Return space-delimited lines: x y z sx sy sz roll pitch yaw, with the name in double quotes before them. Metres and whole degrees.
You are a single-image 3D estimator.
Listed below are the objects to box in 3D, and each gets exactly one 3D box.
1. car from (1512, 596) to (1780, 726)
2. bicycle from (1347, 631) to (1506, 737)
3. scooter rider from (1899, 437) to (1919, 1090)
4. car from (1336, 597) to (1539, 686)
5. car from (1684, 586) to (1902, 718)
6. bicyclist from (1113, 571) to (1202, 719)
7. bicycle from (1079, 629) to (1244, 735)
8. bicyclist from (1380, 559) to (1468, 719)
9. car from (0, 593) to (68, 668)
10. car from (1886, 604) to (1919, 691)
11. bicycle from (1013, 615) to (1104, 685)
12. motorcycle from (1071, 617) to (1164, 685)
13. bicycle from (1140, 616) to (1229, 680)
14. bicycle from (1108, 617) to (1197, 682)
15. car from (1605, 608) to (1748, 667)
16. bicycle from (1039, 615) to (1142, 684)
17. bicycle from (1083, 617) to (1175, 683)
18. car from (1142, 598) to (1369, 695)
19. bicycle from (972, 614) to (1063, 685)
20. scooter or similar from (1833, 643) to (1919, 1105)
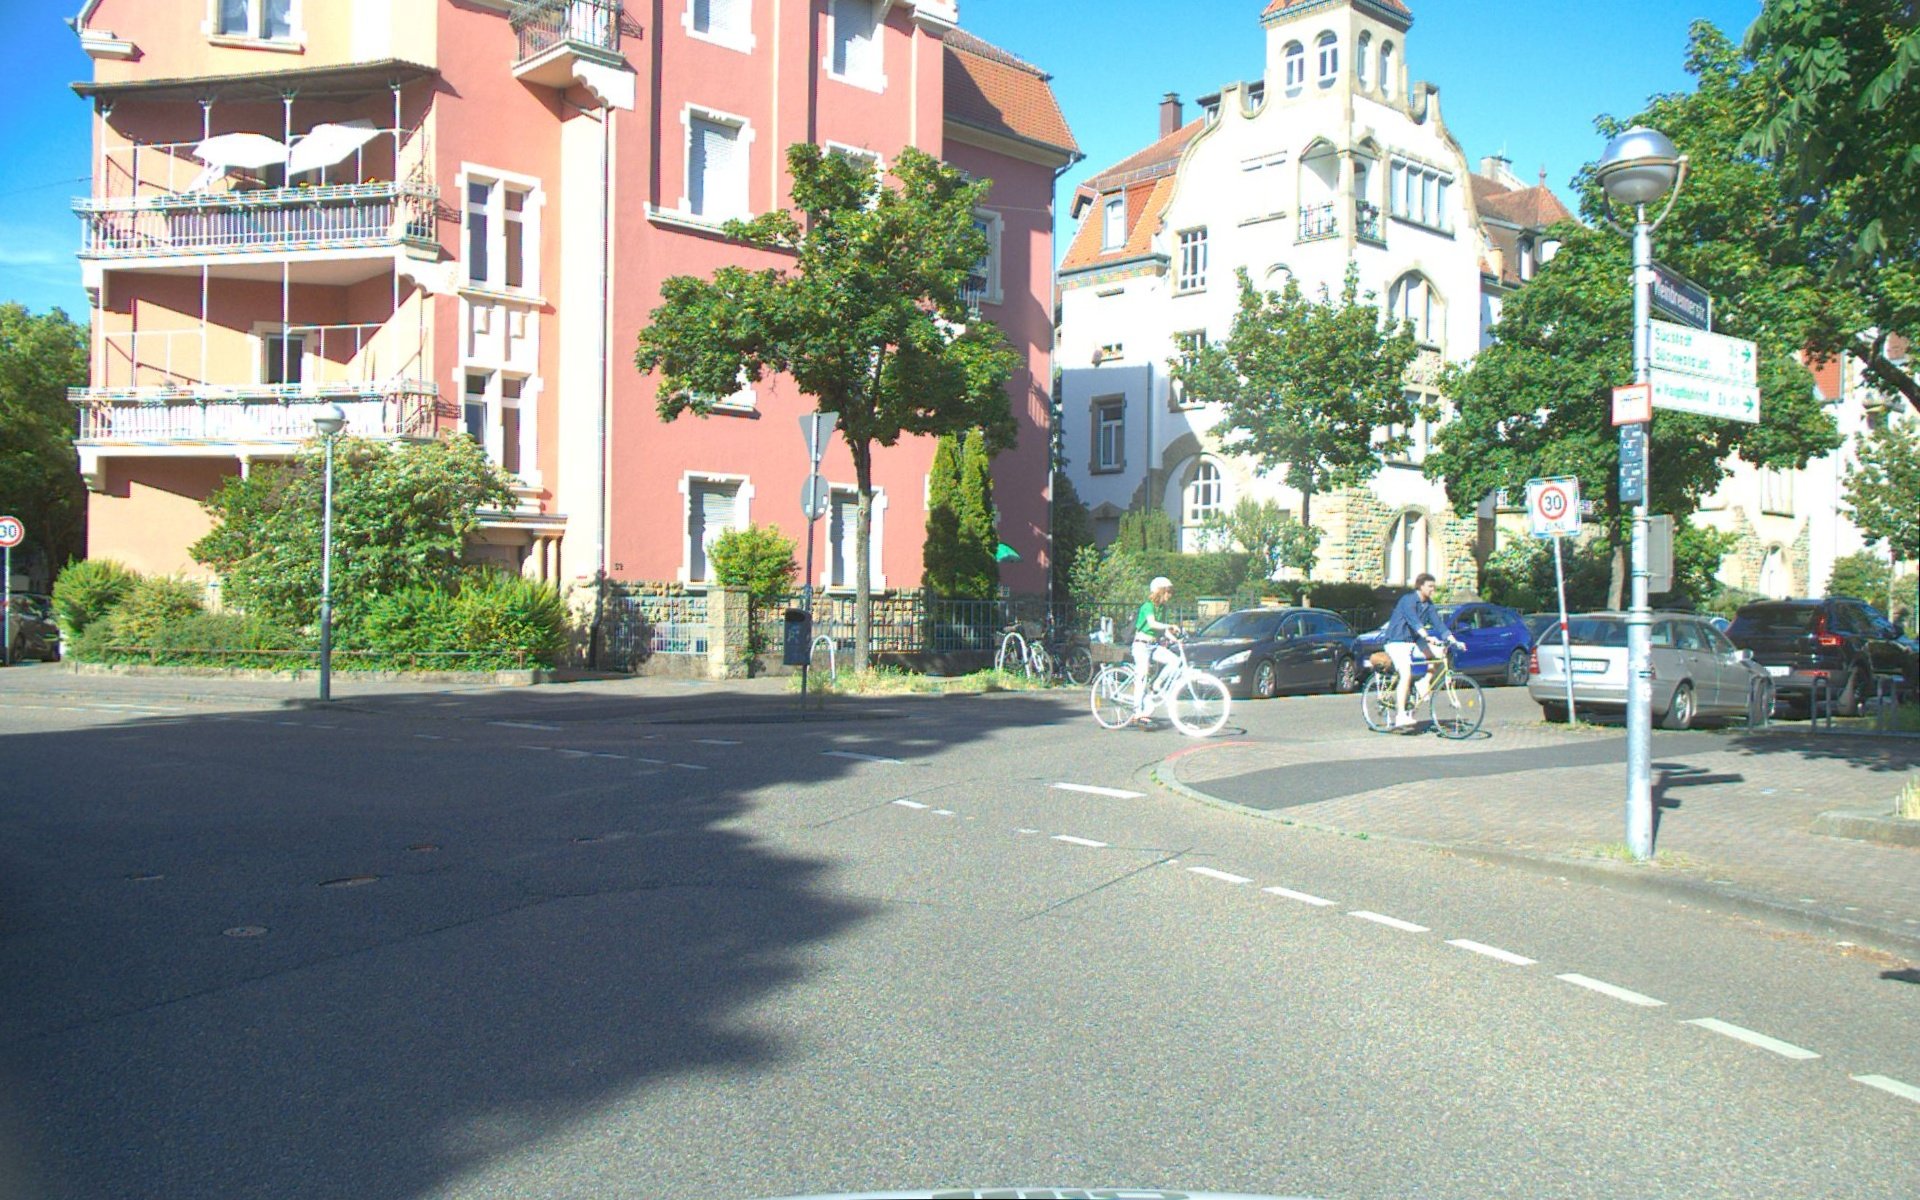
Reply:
"car" 8.762 0.712 20.933 1.778 1.440 4.311 1 0 42
"bicycle" 5.193 0.907 18.498 0.638 1.127 1.695 1 -2 -36
"scooter rider" 3.100 0.469 4.574 0.613 1.864 0.629 1 0 -16
"car" 9.225 0.778 31.788 4.364 1.589 1.781 0 -3 -44
"car" 12.368 0.719 24.429 1.778 1.758 4.311 1 0 42
"bicyclist" 2.200 0.495 18.460 0.790 1.609 0.592 -1 -2 42
"bicycle" 2.227 0.894 18.428 1.830 1.127 0.592 -1 -2 43
"bicyclist" 5.193 0.435 18.510 0.639 1.745 0.714 1 -2 -36
"car" -21.608 0.645 37.218 1.654 1.590 4.279 2 -1 -14
"car" 18.360 0.853 29.533 4.297 1.499 1.784 1 0 -40
"bicycle" 1.724 0.863 29.194 0.541 1.134 1.701 1 1 -42
"motorcycle" 2.856 0.910 30.123 1.696 1.126 0.498 2 1 41
"bicycle" 4.290 0.913 31.698 1.698 1.126 0.512 3 1 45
"bicycle" 3.612 0.921 31.122 1.698 1.126 0.497 3 1 45
"car" 18.405 0.939 42.398 4.364 1.421 1.781 0 -3 -44
"bicycle" 2.334 0.871 29.682 1.791 1.126 0.499 2 1 32
"bicycle" 3.120 0.915 30.647 1.696 1.126 0.498 2 1 41
"car" 5.076 0.782 28.019 1.777 1.509 4.312 -3 -2 42
"bicycle" 0.981 0.835 28.540 0.541 1.134 1.701 1 1 -42
"scooter or similar" 3.094 0.786 4.574 0.620 1.305 1.101 1 0 -16
